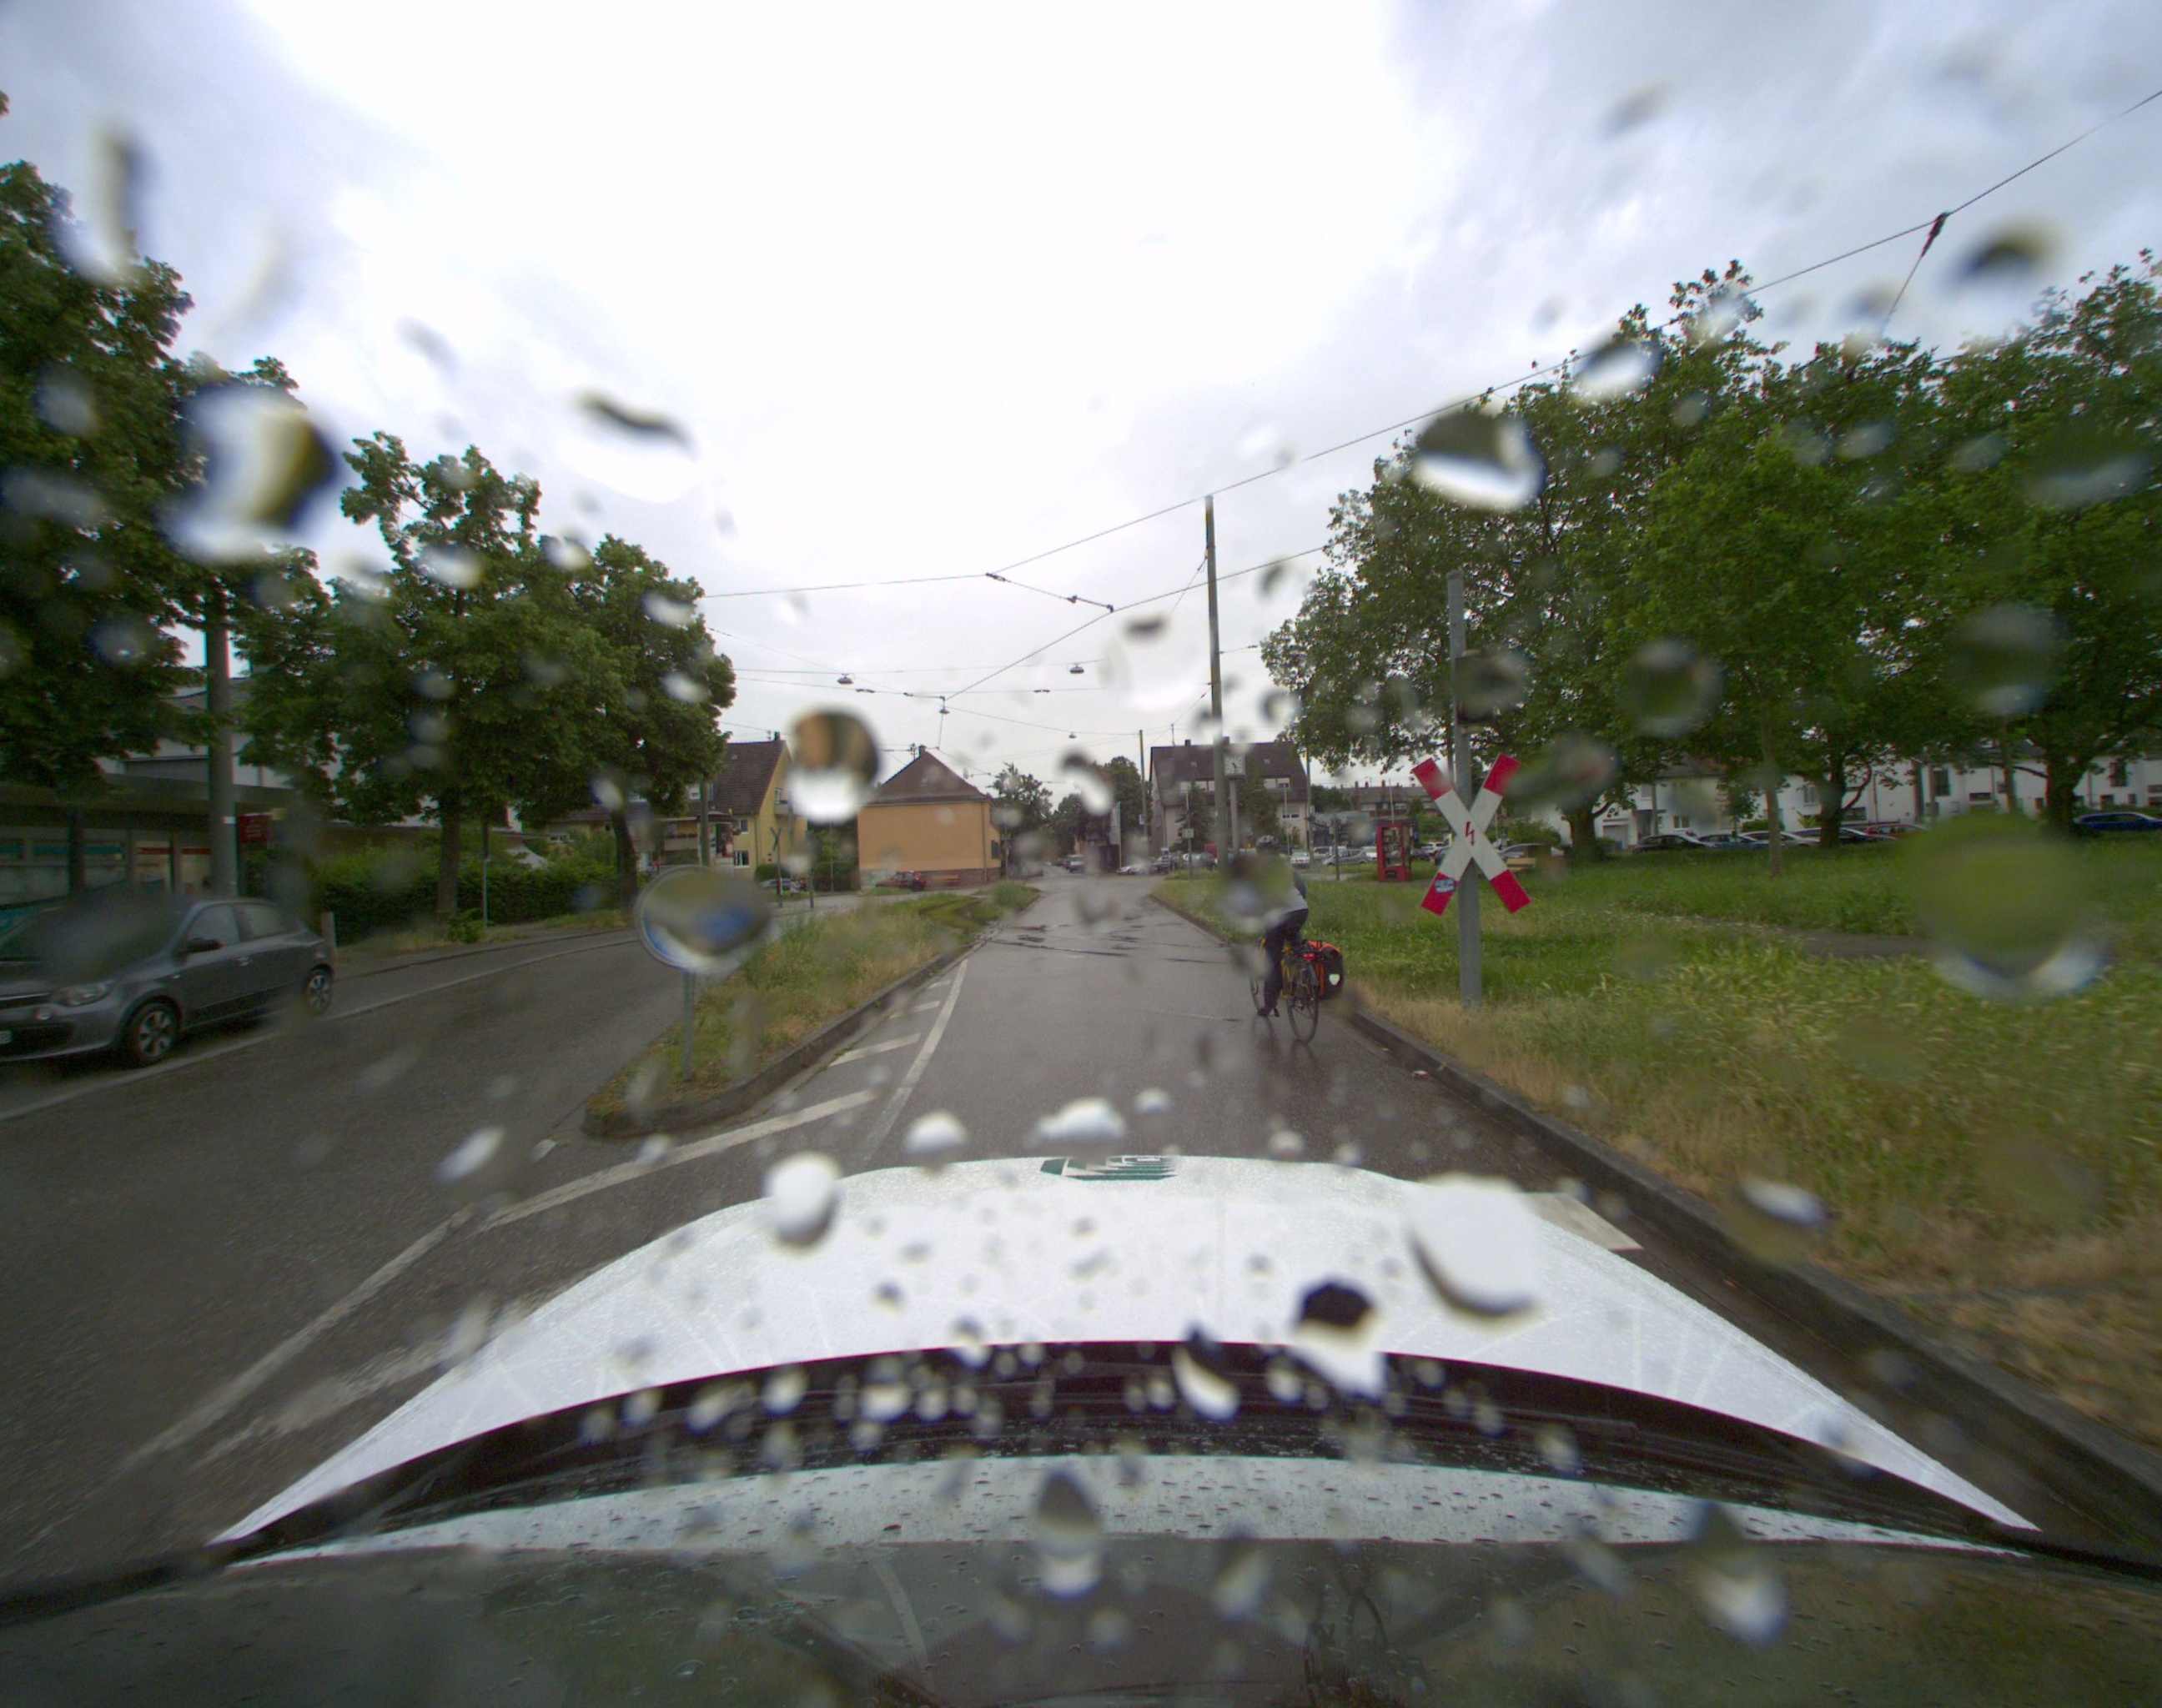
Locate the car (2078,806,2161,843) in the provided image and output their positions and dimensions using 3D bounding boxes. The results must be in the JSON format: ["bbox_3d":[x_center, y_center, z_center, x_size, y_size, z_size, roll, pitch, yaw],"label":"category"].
[{"bbox_3d":[54.777,-1.501,42.056,1.815,1.765,3.879,0,-1,-29],"label":"car"}]

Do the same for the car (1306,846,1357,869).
[{"bbox_3d":[22.223,0.307,72.381,3.974,1.951,2.000,-1,-1,0],"label":"car"}]

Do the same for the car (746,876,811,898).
[{"bbox_3d":[-21.779,2.368,58.775,3.979,1.456,1.831,0,-1,-4],"label":"car"}]

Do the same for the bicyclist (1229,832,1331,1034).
[{"bbox_3d":[1.679,0.641,6.993,0.665,1.626,0.853,-1,-1,1],"label":"bicyclist"}]

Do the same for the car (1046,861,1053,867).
[{"bbox_3d":[-8.676,2.822,225.636,1.799,1.461,3.999,-1,-1,0],"label":"car"}]

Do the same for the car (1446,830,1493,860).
[{"bbox_3d":[33.042,-0.721,69.374,1.986,2.443,4.354,-1,-1,1],"label":"car"}]

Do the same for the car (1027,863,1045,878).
[{"bbox_3d":[-5.047,1.844,92.658,1.799,1.651,3.999,-1,-1,0],"label":"car"}]

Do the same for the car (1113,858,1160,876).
[{"bbox_3d":[5.189,1.202,76.556,4.015,1.643,1.979,0,-1,-33],"label":"car"}]

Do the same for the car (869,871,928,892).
[{"bbox_3d":[-13.328,1.974,59.763,3.979,1.456,1.831,0,-1,-4],"label":"car"}]

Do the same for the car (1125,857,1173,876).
[{"bbox_3d":[6.138,1.116,73.455,4.015,1.675,1.979,0,-1,-33],"label":"car"}]

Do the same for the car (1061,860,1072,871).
[{"bbox_3d":[-2.538,2.031,144.341,1.799,1.811,3.999,-1,-1,0],"label":"car"}]

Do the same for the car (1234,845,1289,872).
[{"bbox_3d":[16.043,0.377,72.534,4.381,2.325,2.000,-1,-1,0],"label":"car"}]

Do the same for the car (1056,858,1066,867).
[{"bbox_3d":[-3.898,1.674,161.639,1.799,1.811,3.999,-1,-1,0],"label":"car"}]

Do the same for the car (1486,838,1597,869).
[{"bbox_3d":[20.670,0.001,36.707,3.963,1.285,1.851,-1,-1,9],"label":"car"}]

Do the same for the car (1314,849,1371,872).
[{"bbox_3d":[19.651,0.499,61.276,3.670,1.701,1.891,-1,-1,2],"label":"car"}]

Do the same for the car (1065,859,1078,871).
[{"bbox_3d":[-1.451,1.737,124.805,1.799,1.811,3.999,-1,-1,0],"label":"car"}]

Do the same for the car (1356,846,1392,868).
[{"bbox_3d":[24.520,0.271,68.321,1.983,1.791,4.007,-1,-1,6],"label":"car"}]

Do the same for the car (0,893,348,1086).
[{"bbox_3d":[-9.725,1.228,8.538,1.621,1.496,3.645,0,-1,-17],"label":"car"}]

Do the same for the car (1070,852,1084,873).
[{"bbox_3d":[-0.491,1.160,104.888,1.799,2.627,3.999,-1,-1,0],"label":"car"}]

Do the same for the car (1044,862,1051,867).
[{"bbox_3d":[-9.509,2.907,230.958,1.799,1.461,3.999,-1,-1,0],"label":"car"}]

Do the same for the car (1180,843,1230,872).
[{"bbox_3d":[11.621,0.352,76.243,4.361,2.566,2.009,-1,-1,16],"label":"car"}]

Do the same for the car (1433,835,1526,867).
[{"bbox_3d":[20.247,-0.126,41.494,1.821,1.495,3.867,0,-1,-44],"label":"car"}]

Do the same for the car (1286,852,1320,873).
[{"bbox_3d":[18.354,0.710,67.180,1.823,1.640,4.024,-1,-1,28],"label":"car"}]

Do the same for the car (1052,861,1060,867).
[{"bbox_3d":[-6.355,2.498,208.366,1.799,1.564,3.999,-1,-1,0],"label":"car"}]

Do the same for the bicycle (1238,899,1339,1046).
[{"bbox_3d":[1.751,0.953,7.083,0.444,1.004,1.728,-2,0,1],"label":"bicycle"}]

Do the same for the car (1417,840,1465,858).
[{"bbox_3d":[35.895,-0.480,81.307,3.971,1.640,1.847,-1,-1,2],"label":"car"}]

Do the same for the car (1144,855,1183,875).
[{"bbox_3d":[7.045,0.958,69.335,1.975,1.640,4.024,-1,-1,28],"label":"car"}]

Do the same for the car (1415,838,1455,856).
[{"bbox_3d":[39.661,-0.762,91.376,1.998,2.014,3.978,0,-1,-16],"label":"car"}]

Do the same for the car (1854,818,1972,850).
[{"bbox_3d":[42.825,-0.985,41.992,1.814,1.495,3.882,0,-1,-26],"label":"car"}]

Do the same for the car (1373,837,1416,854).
[{"bbox_3d":[33.661,-0.902,87.465,3.968,1.791,2.003,-1,-1,5],"label":"car"}]

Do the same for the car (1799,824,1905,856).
[{"bbox_3d":[39.462,-0.671,41.740,1.821,1.495,3.867,0,-1,-44],"label":"car"}]

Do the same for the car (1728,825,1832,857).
[{"bbox_3d":[35.905,-0.635,41.877,1.821,1.495,3.867,0,-1,-44],"label":"car"}]

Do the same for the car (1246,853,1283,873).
[{"bbox_3d":[15.119,0.736,66.890,1.975,1.640,4.024,-1,-1,28],"label":"car"}]

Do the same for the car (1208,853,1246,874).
[{"bbox_3d":[12.003,0.764,66.767,1.975,1.640,4.024,-1,-1,28],"label":"car"}]

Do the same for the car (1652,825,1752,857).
[{"bbox_3d":[30.956,-0.610,40.731,3.865,1.495,1.822,-1,-1,35],"label":"car"}]

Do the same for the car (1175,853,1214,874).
[{"bbox_3d":[9.481,0.806,68.014,1.975,1.640,4.024,-1,-1,28],"label":"car"}]

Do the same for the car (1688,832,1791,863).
[{"bbox_3d":[33.399,-0.292,41.361,1.821,1.495,3.867,0,-1,-44],"label":"car"}]
